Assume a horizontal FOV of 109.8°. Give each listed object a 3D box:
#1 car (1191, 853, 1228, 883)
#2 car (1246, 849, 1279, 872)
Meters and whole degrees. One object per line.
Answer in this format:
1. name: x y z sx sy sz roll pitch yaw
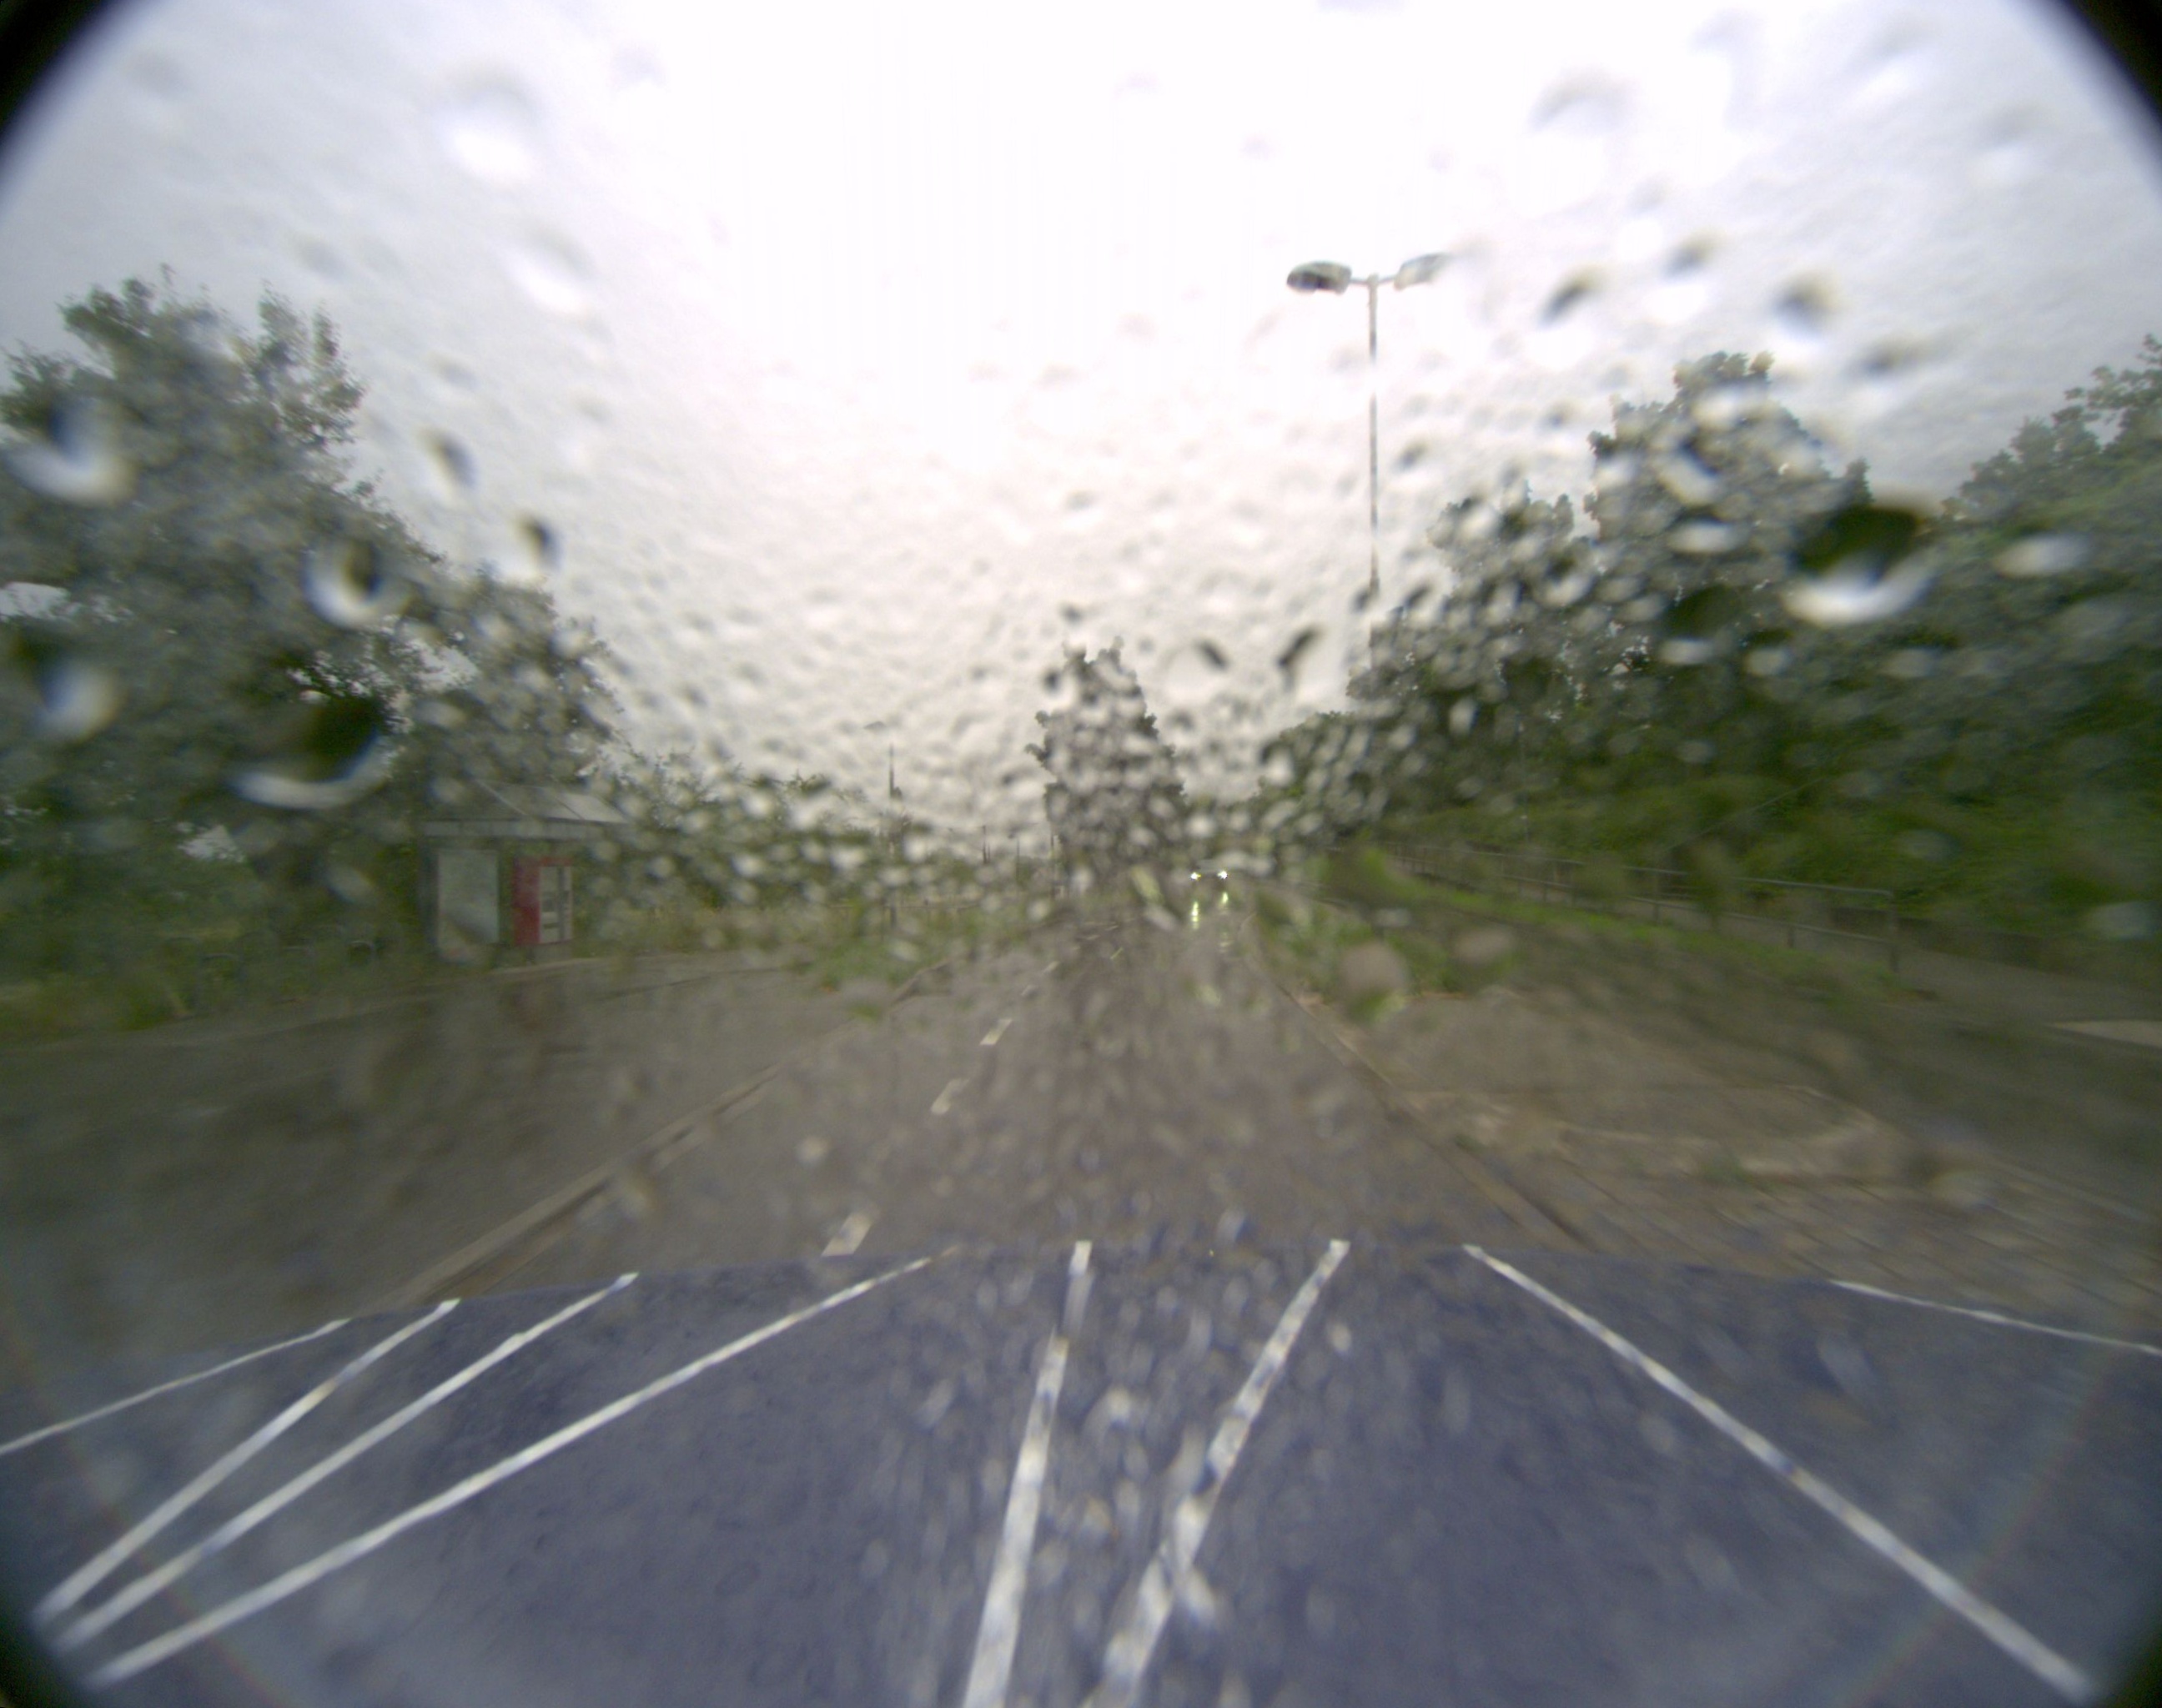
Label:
1. car: 6.663 0.775 39.683 1.763 1.476 3.794 -1 -2 8
2. car: 12.311 0.383 51.706 1.764 1.494 4.143 0 1 7
